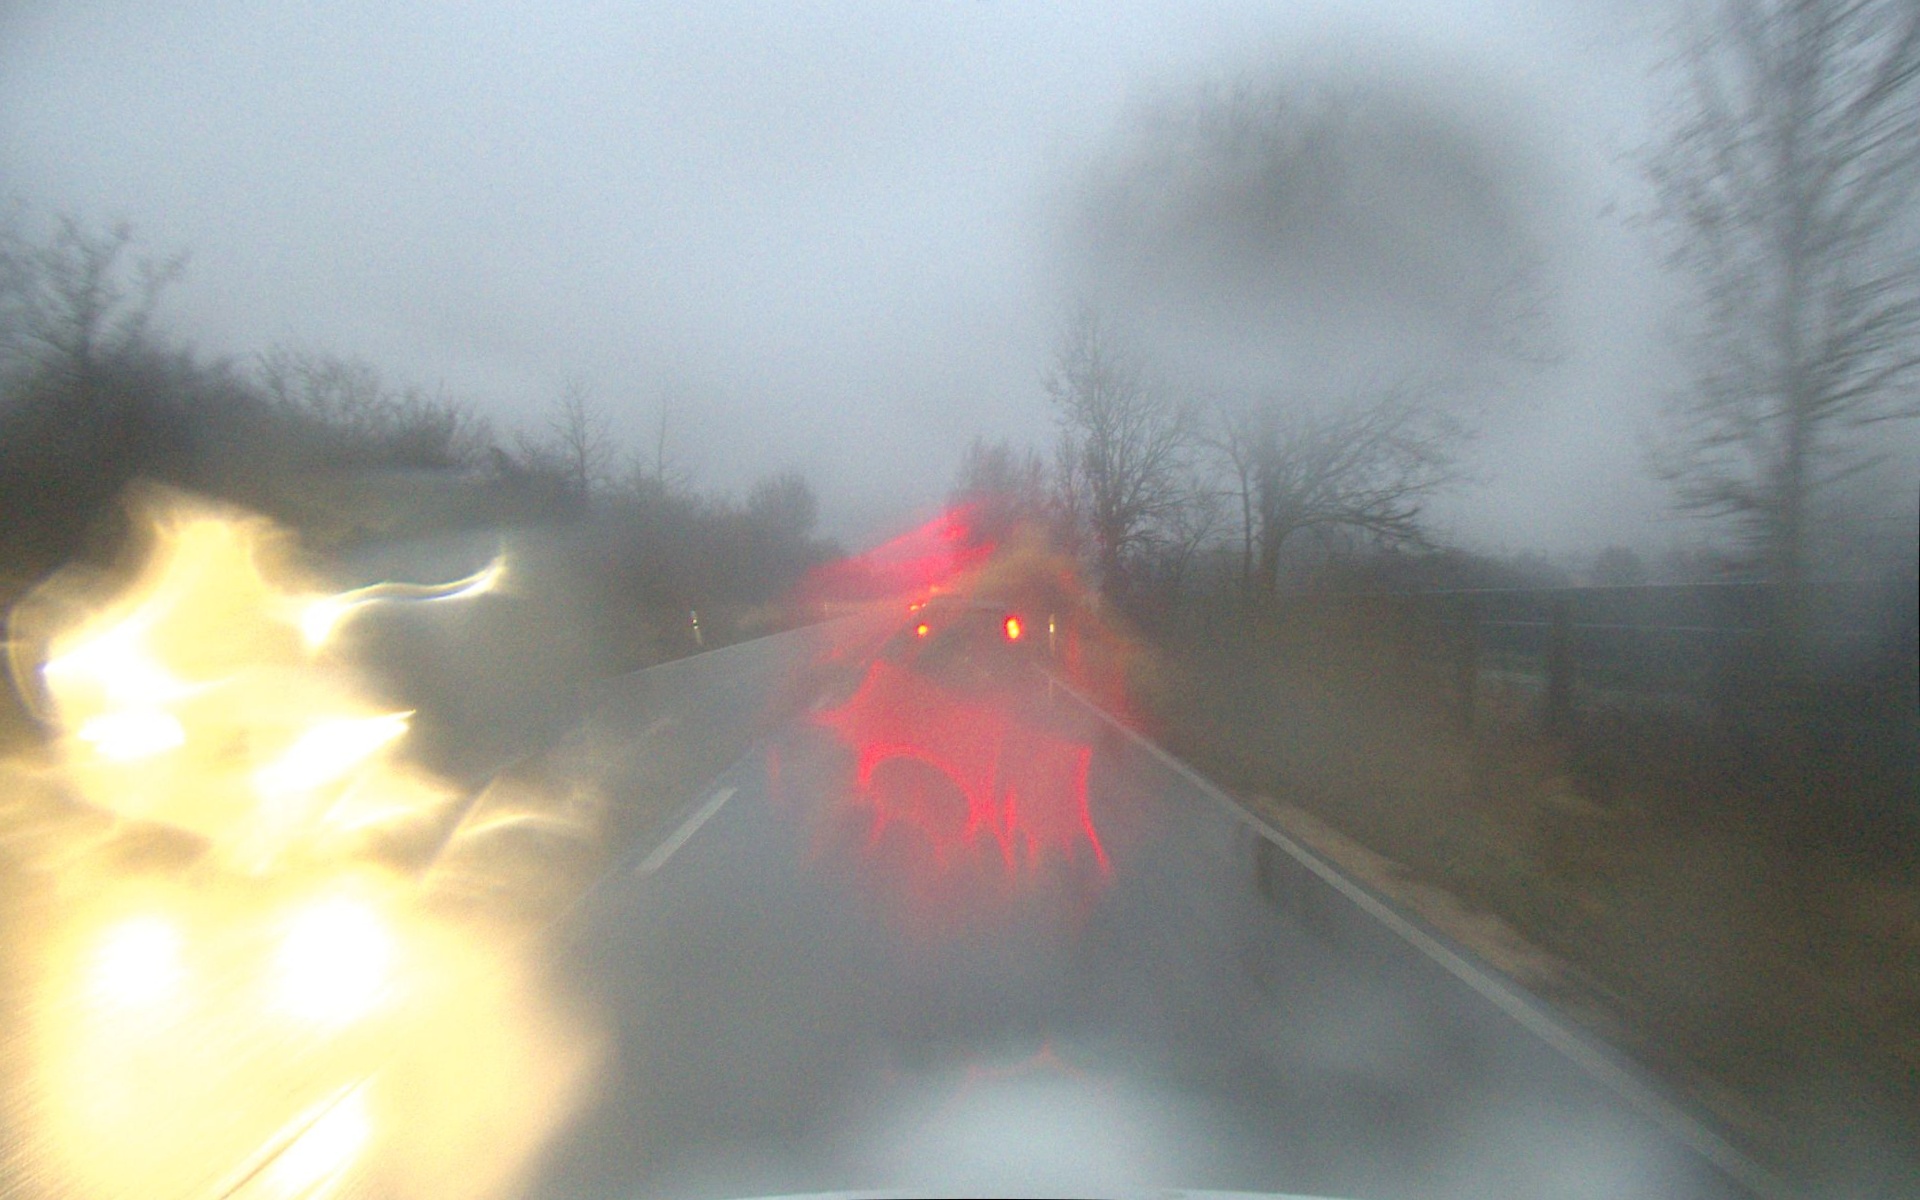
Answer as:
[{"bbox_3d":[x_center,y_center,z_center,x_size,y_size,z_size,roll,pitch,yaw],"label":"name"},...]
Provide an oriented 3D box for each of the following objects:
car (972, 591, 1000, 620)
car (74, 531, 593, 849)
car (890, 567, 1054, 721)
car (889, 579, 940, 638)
[{"bbox_3d":[1.499,0.297,95.476,1.531,1.619,3.489,2,0,2],"label":"car"},{"bbox_3d":[-3.913,0.480,11.299,1.722,1.669,4.685,2,0,0],"label":"car"},{"bbox_3d":[0.168,0.525,22.152,1.952,1.816,4.000,2,0,0],"label":"car"},{"bbox_3d":[-1.528,0.278,56.505,1.542,1.907,3.709,2,0,1],"label":"car"}]
